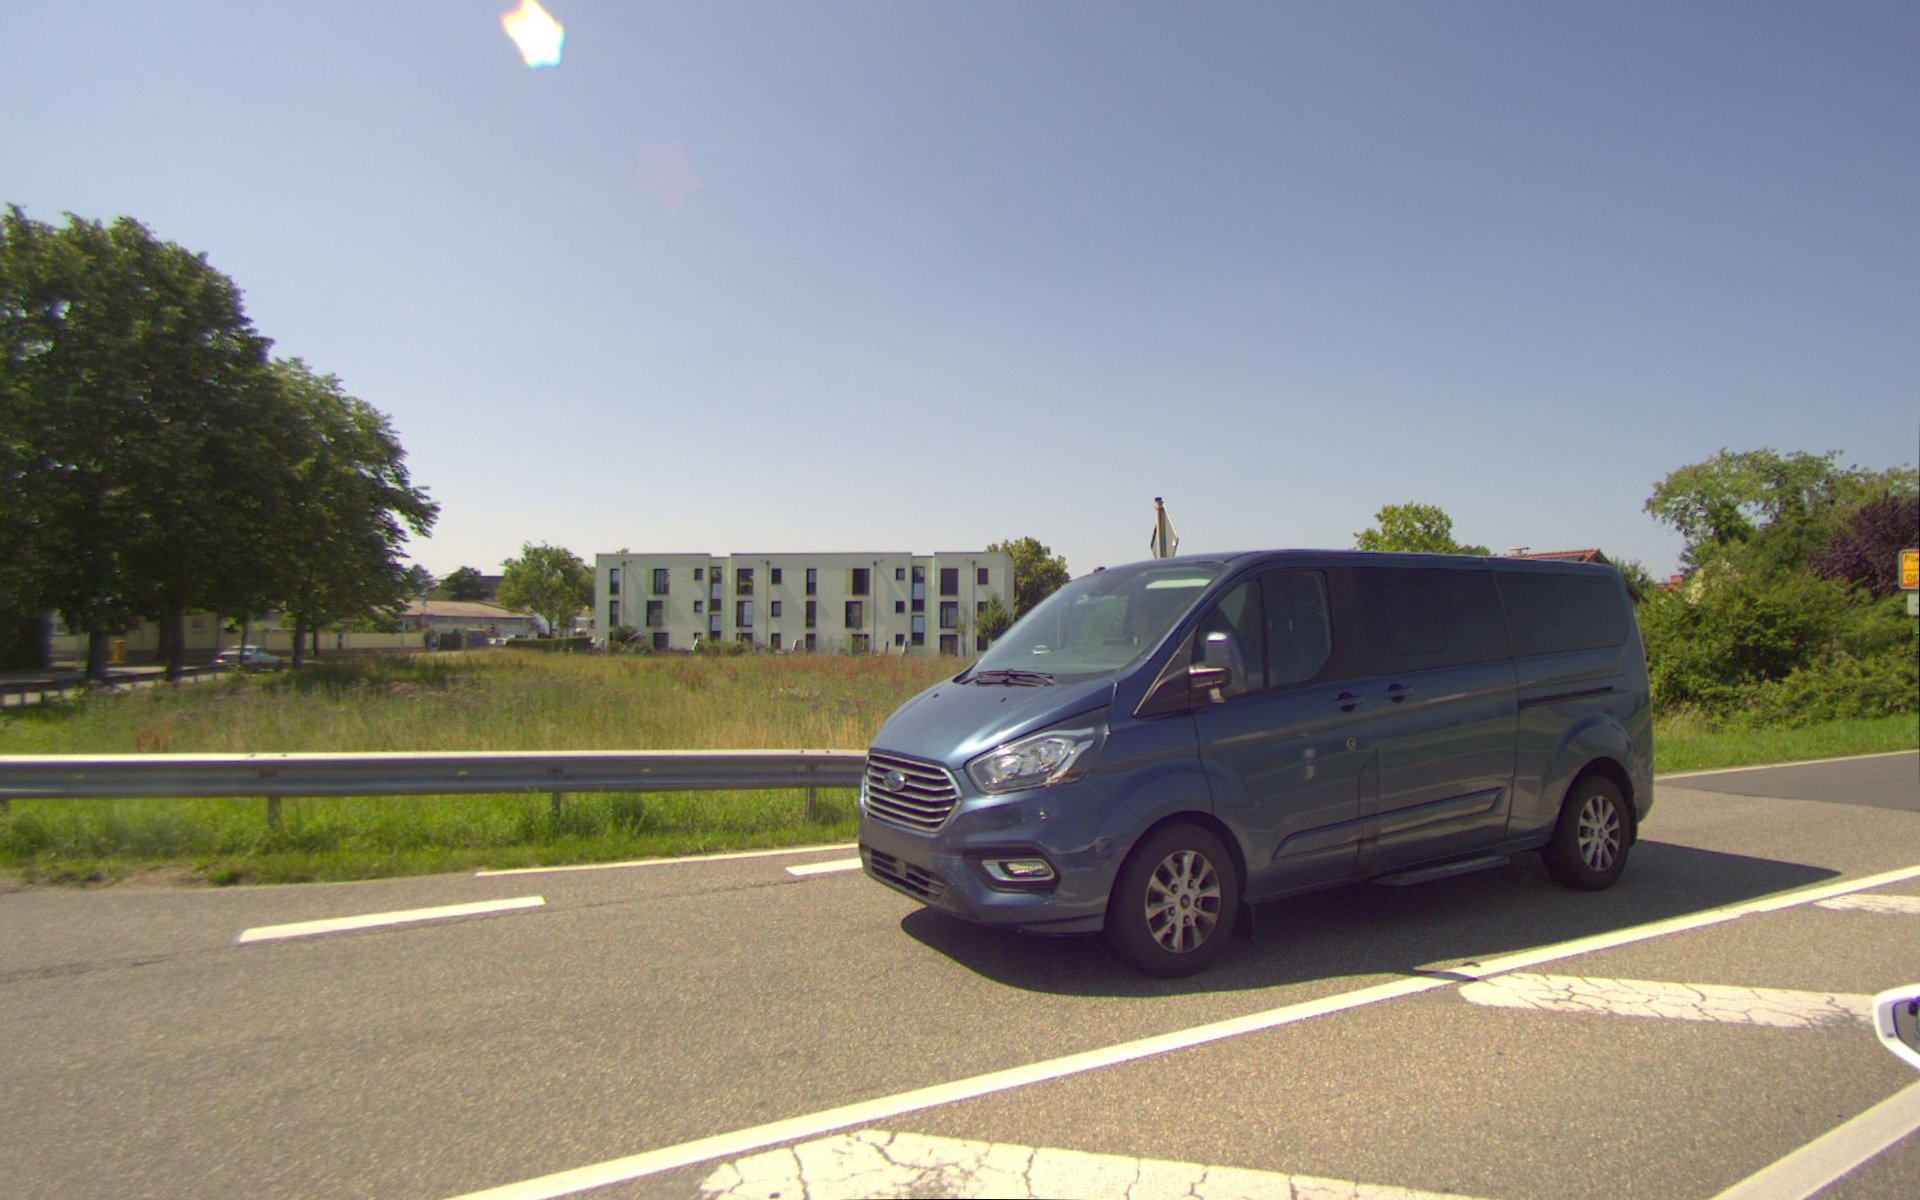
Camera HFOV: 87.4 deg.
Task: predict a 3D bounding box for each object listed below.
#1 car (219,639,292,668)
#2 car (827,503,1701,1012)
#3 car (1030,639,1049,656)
[{"bbox_3d":[-38.187,2.856,54.560,1.613,1.490,4.406,0,-2,-12],"label":"car"},{"bbox_3d":[1.996,0.693,6.141,5.184,1.977,2.135,1,-3,-30],"label":"car"},{"bbox_3d":[8.067,4.809,101.775,1.789,1.639,4.002,1,-1,3],"label":"car"}]
